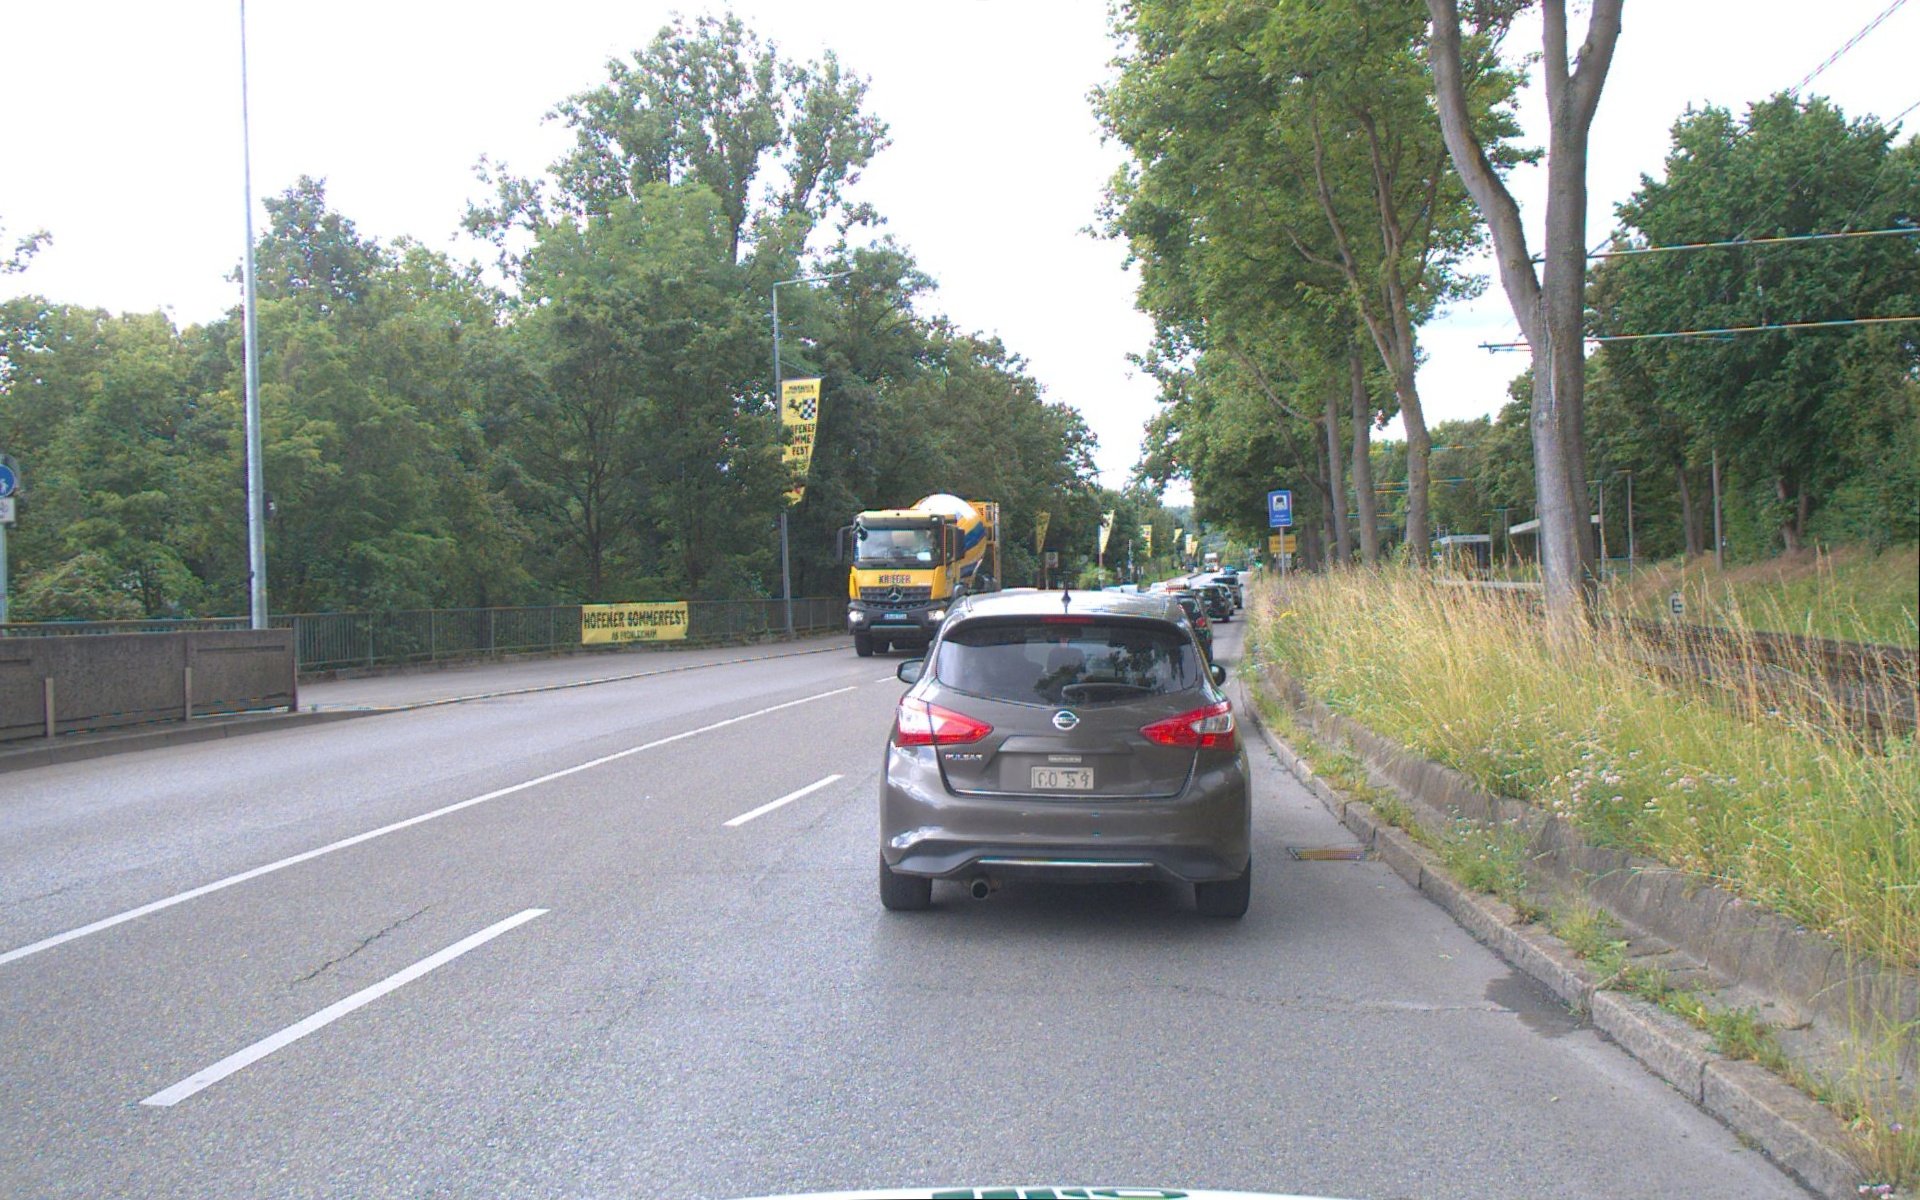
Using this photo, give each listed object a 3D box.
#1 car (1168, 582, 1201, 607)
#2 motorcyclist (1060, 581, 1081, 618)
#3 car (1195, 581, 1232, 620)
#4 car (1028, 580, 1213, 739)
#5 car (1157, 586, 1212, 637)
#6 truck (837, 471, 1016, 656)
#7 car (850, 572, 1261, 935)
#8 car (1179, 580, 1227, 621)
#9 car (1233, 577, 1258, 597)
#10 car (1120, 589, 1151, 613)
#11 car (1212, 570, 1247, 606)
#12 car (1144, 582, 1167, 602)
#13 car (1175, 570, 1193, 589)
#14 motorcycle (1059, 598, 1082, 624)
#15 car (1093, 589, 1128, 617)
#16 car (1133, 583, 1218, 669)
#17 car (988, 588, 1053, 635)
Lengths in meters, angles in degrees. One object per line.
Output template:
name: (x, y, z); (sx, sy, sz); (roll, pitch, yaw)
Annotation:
car: (14.310, -0.330, 105.270); (1.812, 1.512, 4.424); (-1, -1, 11)
motorcyclist: (4.650, -0.020, 69.580); (0.729, 1.566, 0.791); (-1, 0, 11)
car: (12.132, 0.047, 79.001); (1.681, 1.723, 4.003); (-2, -2, 9)
car: (1.735, 0.637, 18.777); (1.853, 1.601, 4.001); (0, -1, 3)
car: (6.618, 0.335, 48.555); (1.468, 1.388, 3.590); (-2, 0, 9)
truck: (-0.571, -0.814, 41.077); (2.598, 4.007, 10.120); (0, 0, 9)
car: (0.557, 0.673, 9.032); (1.737, 1.520, 4.002); (0, -1, 4)
car: (9.580, 0.038, 65.046); (1.766, 1.567, 4.003); (0, 0, 9)
car: (22.614, -1.026, 131.035); (1.850, 1.470, 3.810); (-1, 0, 10)
car: (11.584, 0.038, 108.945); (1.779, 1.488, 4.004); (-2, 0, 10)
car: (15.643, -0.700, 95.906); (1.850, 2.049, 4.004); (-1, 0, 10)
car: (16.085, -0.649, 135.902); (1.715, 1.445, 4.003); (-2, -2, 9)
car: (23.131, -2.094, 170.453); (1.681, 1.723, 3.728); (-2, -2, 9)
motorcycle: (4.648, 0.468, 69.519); (0.729, 1.051, 1.890); (-1, 0, 11)
car: (8.758, 0.194, 95.976); (1.684, 1.467, 4.003); (-2, -2, 9)
car: (4.284, 0.503, 33.241); (1.544, 1.565, 4.003); (-2, -1, 6)
car: (2.099, 0.358, 56.326); (1.729, 1.505, 4.004); (0, 0, 9)
